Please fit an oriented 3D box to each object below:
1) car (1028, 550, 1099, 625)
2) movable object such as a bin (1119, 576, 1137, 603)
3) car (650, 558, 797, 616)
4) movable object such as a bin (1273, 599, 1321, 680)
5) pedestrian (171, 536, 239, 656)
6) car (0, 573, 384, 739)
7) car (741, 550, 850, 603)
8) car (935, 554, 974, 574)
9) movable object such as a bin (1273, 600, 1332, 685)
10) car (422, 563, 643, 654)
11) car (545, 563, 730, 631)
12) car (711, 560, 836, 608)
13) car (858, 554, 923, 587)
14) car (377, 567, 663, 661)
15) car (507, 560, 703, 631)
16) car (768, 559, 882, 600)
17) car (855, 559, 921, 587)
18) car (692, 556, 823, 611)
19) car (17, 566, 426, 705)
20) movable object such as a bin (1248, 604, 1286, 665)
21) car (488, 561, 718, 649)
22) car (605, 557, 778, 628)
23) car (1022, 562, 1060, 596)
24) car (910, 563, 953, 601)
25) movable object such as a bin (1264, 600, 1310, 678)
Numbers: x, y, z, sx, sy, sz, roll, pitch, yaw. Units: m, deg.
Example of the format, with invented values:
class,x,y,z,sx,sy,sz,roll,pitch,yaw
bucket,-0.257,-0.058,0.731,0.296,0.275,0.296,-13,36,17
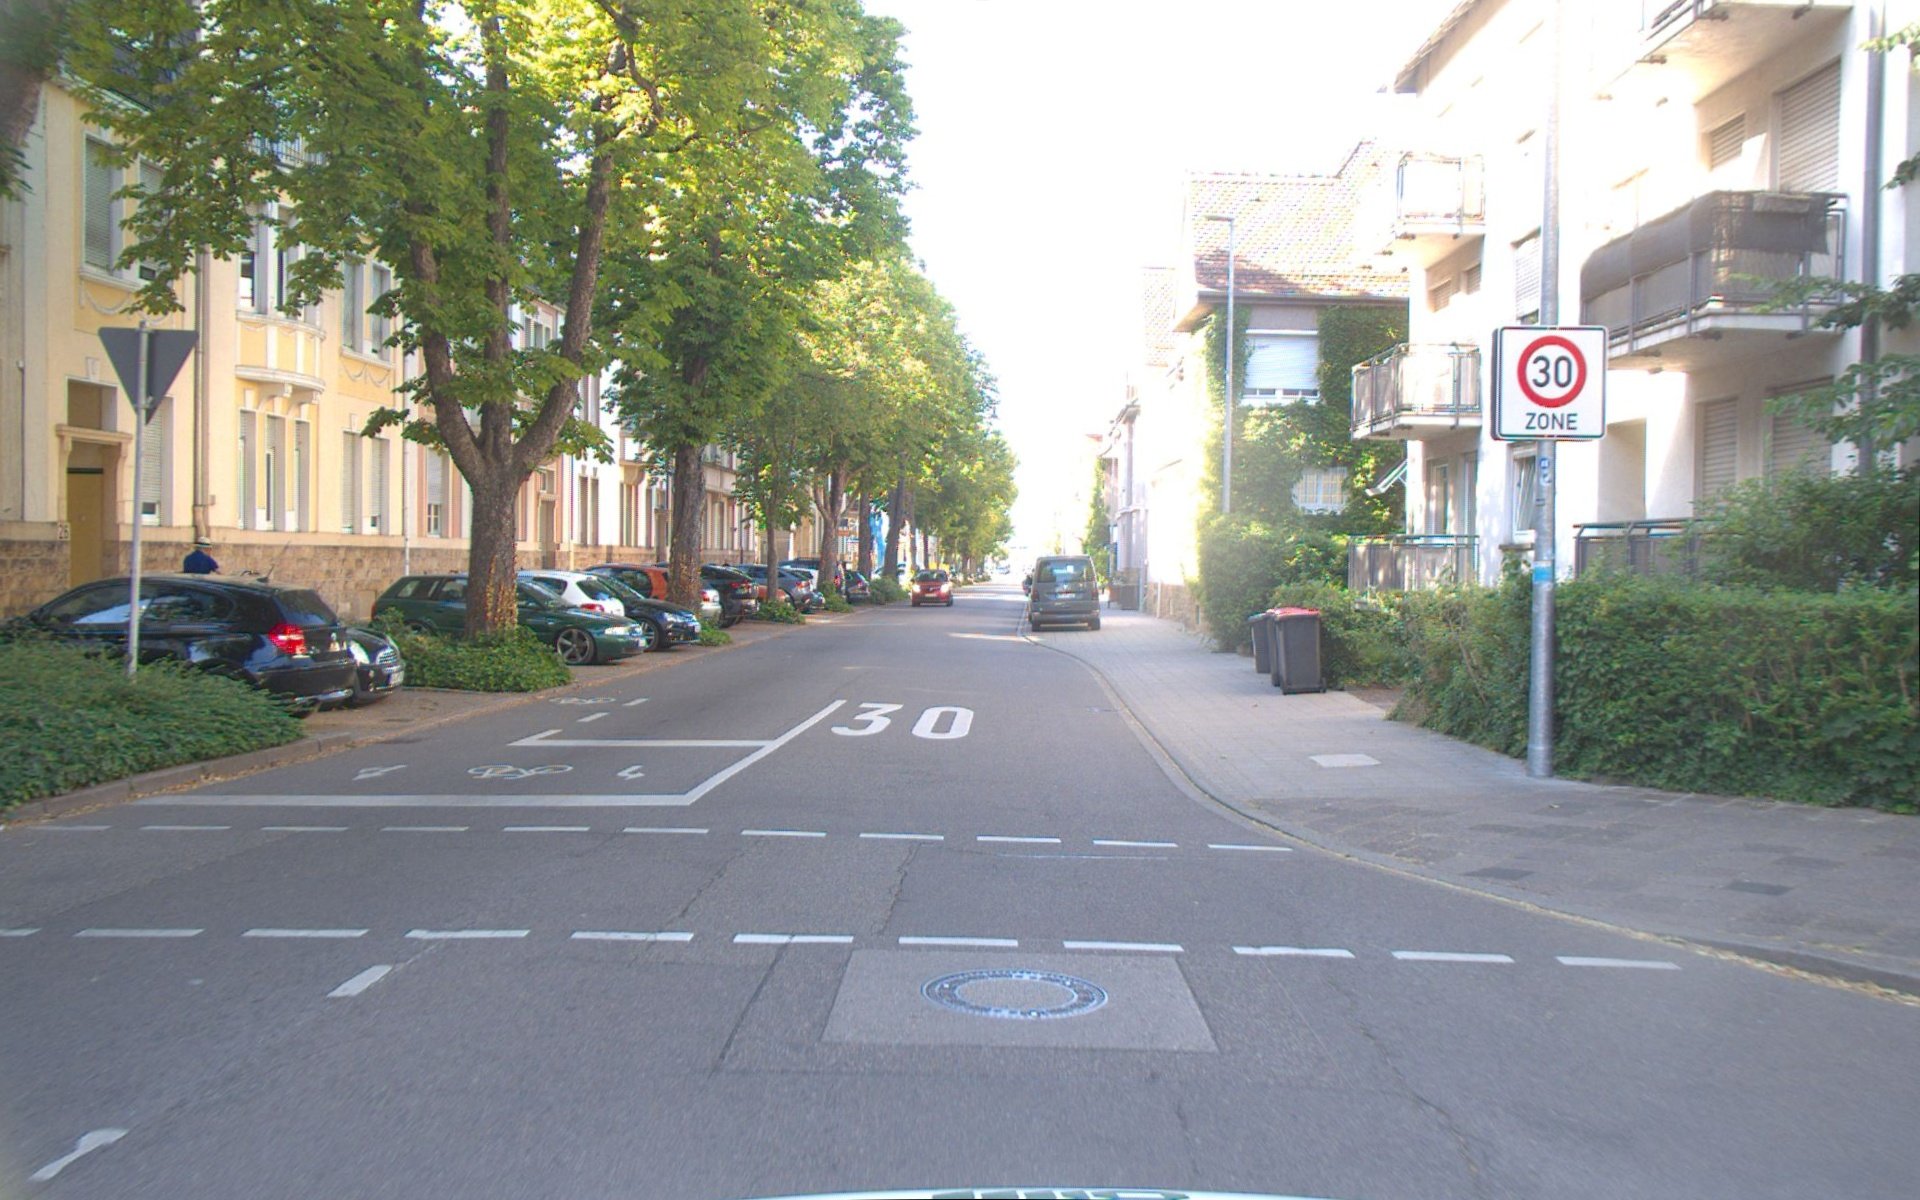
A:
class,x,y,z,sx,sy,sz,roll,pitch,yaw
car,2.804,-0.378,45.519,1.826,1.949,4.784,0,1,3
movable object such as a bin,6.734,-0.437,66.205,0.634,1.058,0.828,0,1,0
car,-6.791,-0.379,47.686,3.904,1.541,1.748,1,0,2
movable object such as a bin,4.630,0.530,22.740,0.473,1.062,0.657,-3,1,0
pedestrian,-10.828,-0.060,23.744,0.450,1.687,0.895,1,1,10
car,-7.720,0.498,15.848,3.801,1.501,1.616,0,1,2
car,-6.225,-0.888,62.766,3.897,1.888,1.829,1,1,1
car,-0.576,-3.754,173.590,3.922,1.872,2.002,3,2,4
movable object such as a bin,4.525,0.554,21.880,0.585,1.062,0.707,-3,1,0
car,-7.496,0.138,29.190,3.361,1.477,1.704,1,0,4
car,-7.557,-0.092,39.000,3.903,1.427,1.831,2,1,3
car,-6.271,-0.562,55.745,3.819,1.471,1.861,2,1,7
car,-4.275,-1.822,102.432,3.906,1.791,1.798,3,1,-2
car,-7.063,0.213,26.796,4.124,1.372,1.704,1,0,2
car,-7.820,-0.111,36.649,3.903,1.534,1.723,0,1,3
car,-5.501,-0.842,67.554,4.438,1.529,1.892,1,1,1
car,-4.316,-1.624,99.564,3.906,1.489,1.797,3,0,-2
car,-6.464,-0.534,53.082,3.904,1.620,1.860,2,1,1
car,-8.108,0.368,18.417,3.805,1.439,1.614,1,1,-4
movable object such as a bin,4.942,0.545,26.640,0.493,0.931,0.573,-3,1,4
car,-6.738,0.071,31.479,3.903,1.508,1.786,2,1,3
car,-6.649,-0.206,41.254,3.903,1.594,1.864,2,1,3
car,3.913,-1.031,80.391,1.664,1.566,4.156,-2,1,1
car,-1.167,-0.770,69.724,1.607,1.534,3.704,0,1,2
movable object such as a bin,4.633,0.543,23.464,0.473,1.062,0.618,-3,1,0
